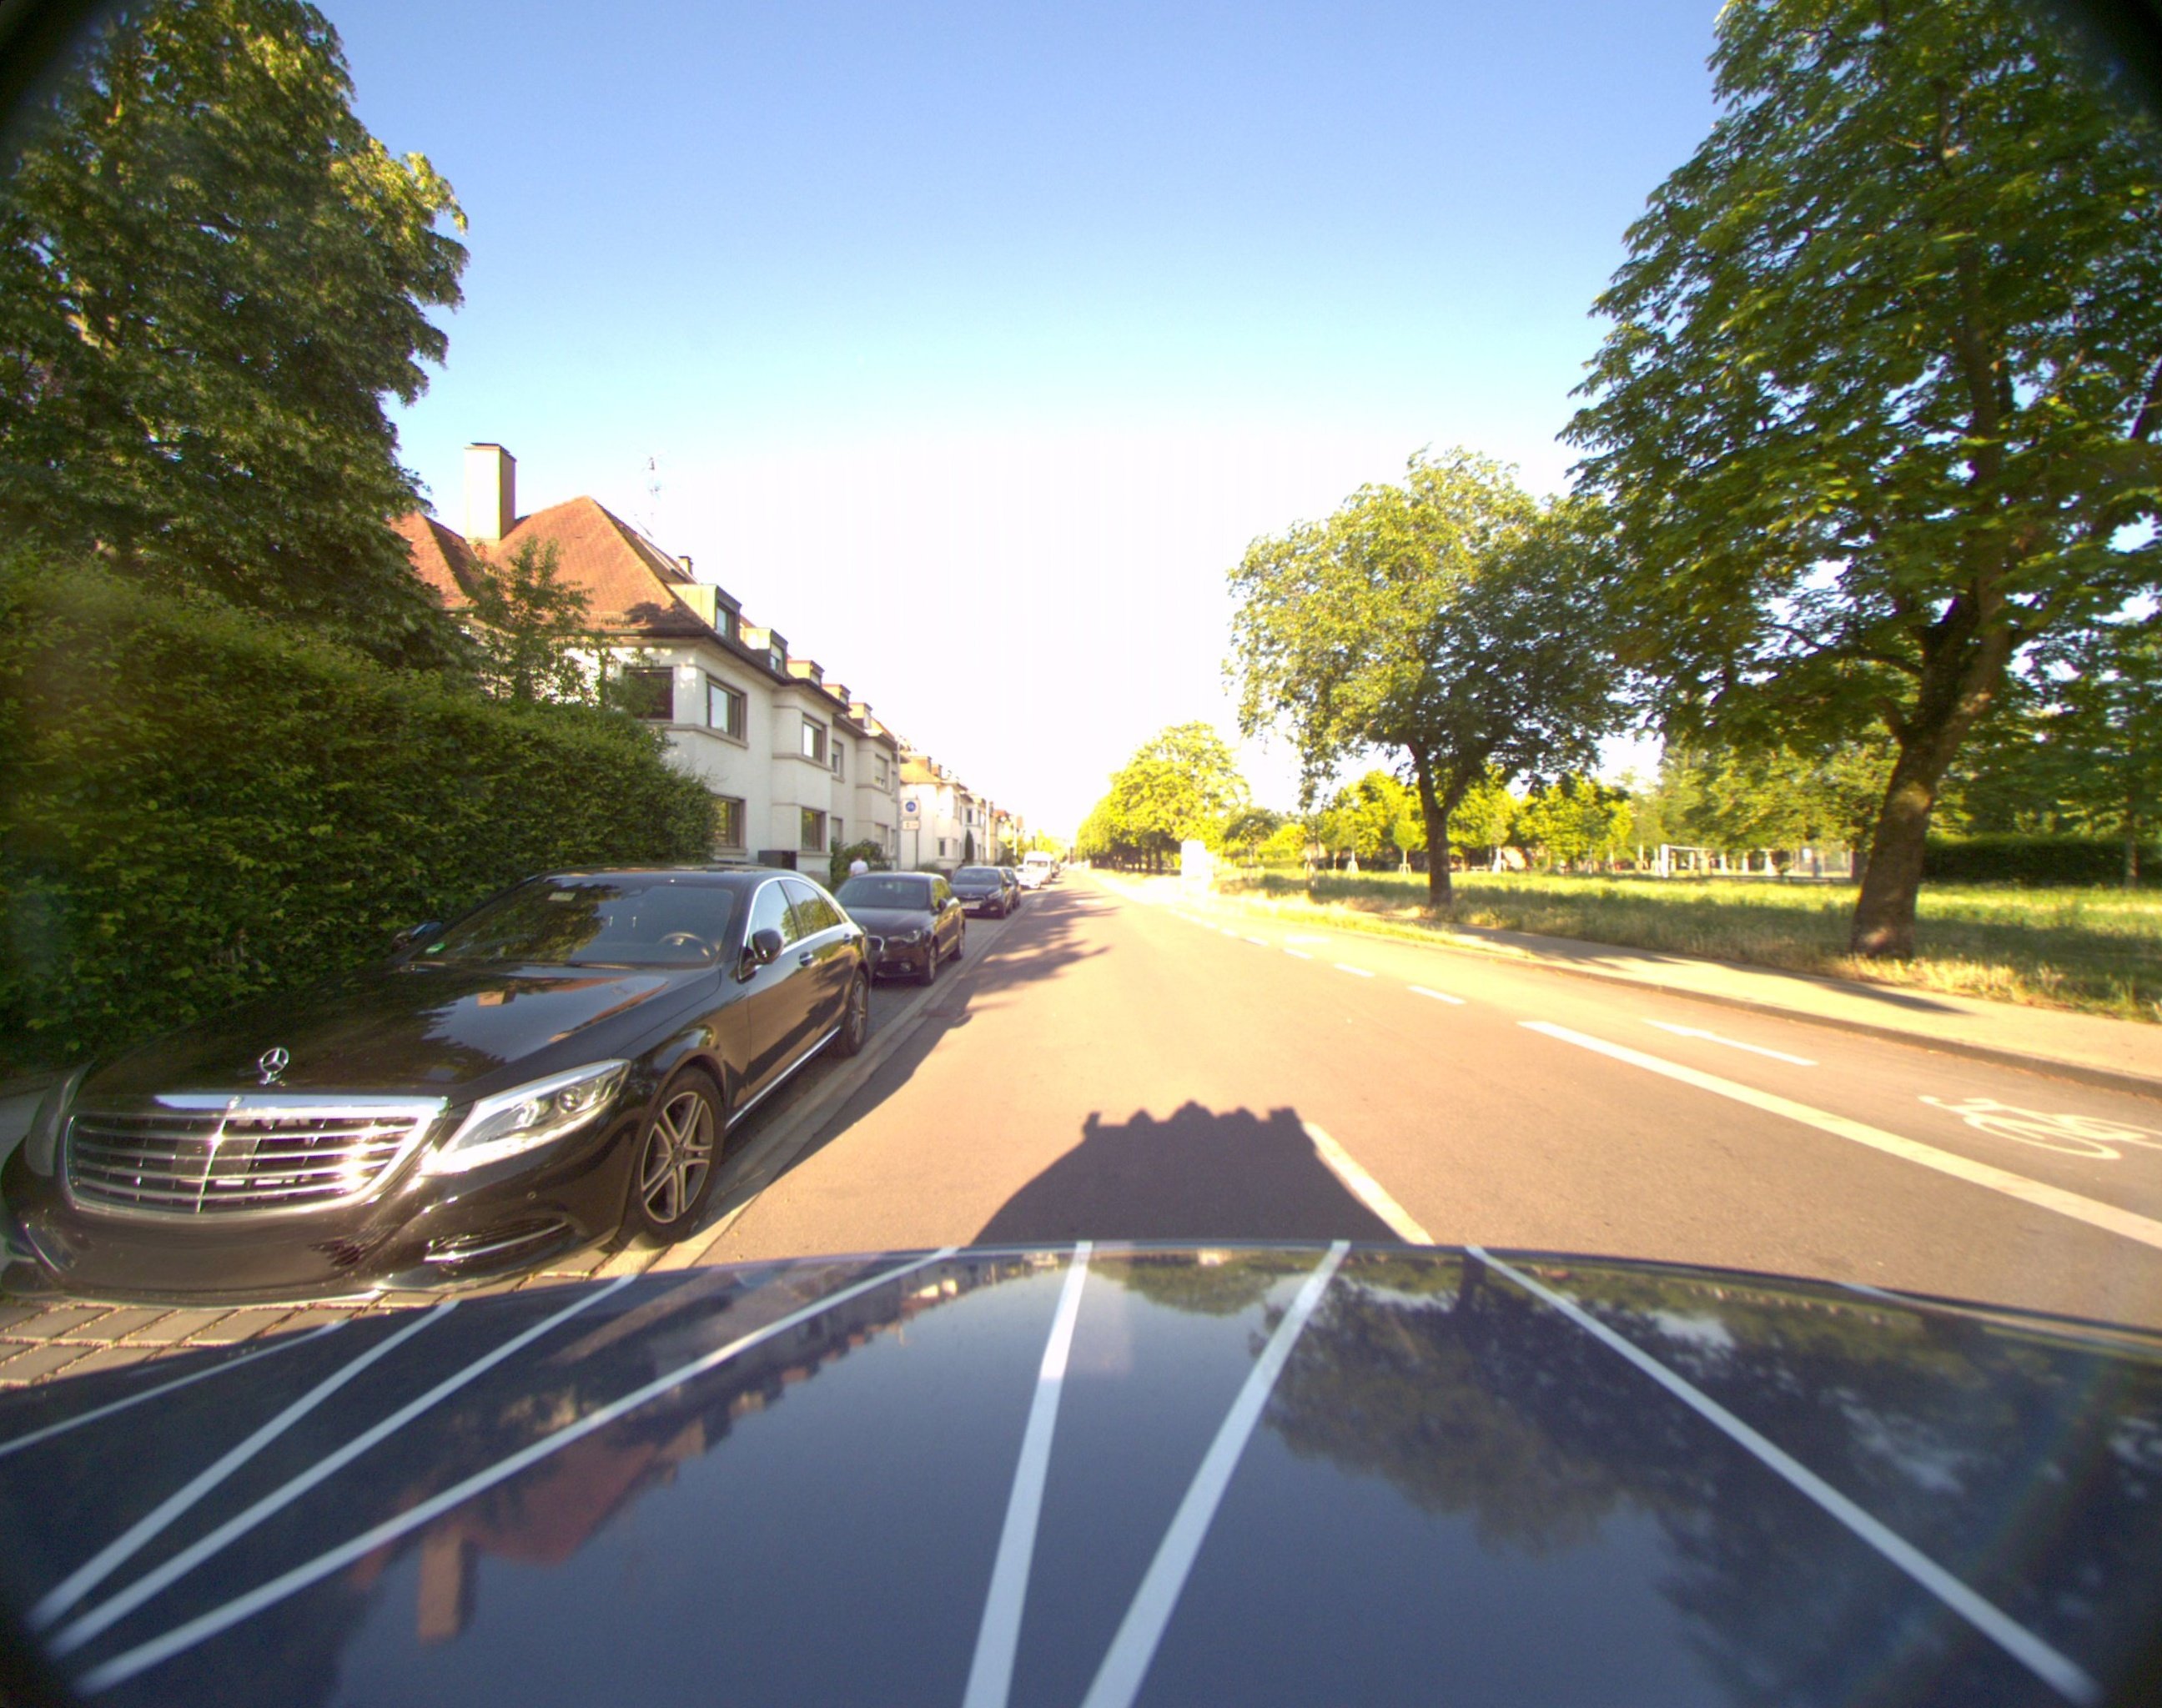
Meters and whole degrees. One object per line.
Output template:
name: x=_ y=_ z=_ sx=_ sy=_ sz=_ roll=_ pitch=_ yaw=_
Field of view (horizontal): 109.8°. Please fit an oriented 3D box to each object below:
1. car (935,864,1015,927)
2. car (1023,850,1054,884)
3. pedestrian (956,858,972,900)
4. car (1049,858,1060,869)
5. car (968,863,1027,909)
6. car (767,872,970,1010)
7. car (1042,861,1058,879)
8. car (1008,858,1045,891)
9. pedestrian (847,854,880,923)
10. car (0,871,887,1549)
car: x=-2.959 y=1.121 z=21.981 sx=1.796 sy=1.586 sz=4.077 roll=-2 pitch=-1 yaw=-1
car: x=-3.264 y=0.954 z=59.754 sx=2.132 sy=2.461 sz=5.723 roll=-2 pitch=1 yaw=-1
pedestrian: x=-5.065 y=1.073 z=32.851 sx=0.531 sy=1.787 sz=0.589 roll=-2 pitch=1 yaw=-2
car: x=-4.132 y=1.481 z=117.223 sx=1.682 sy=1.543 sz=3.842 roll=1 pitch=0 yaw=-3
car: x=-2.974 y=1.118 z=27.615 sx=1.680 sy=1.525 sz=3.472 roll=-2 pitch=-1 yaw=1
car: x=-2.754 y=1.053 z=10.798 sx=1.784 sy=1.469 sz=4.000 roll=-2 pitch=-1 yaw=-1
car: x=-3.572 y=1.835 z=88.935 sx=1.708 sy=1.848 sz=3.712 roll=-2 pitch=1 yaw=0
car: x=-3.270 y=1.210 z=46.515 sx=1.999 sy=1.775 sz=3.999 roll=-2 pitch=1 yaw=-1
pedestrian: x=-5.992 y=0.920 z=20.930 sx=0.587 sy=1.835 sz=0.823 roll=-2 pitch=1 yaw=1
car: x=-2.602 y=0.902 z=4.232 sx=2.009 sy=1.489 sz=4.914 roll=2 pitch=0 yaw=-3
